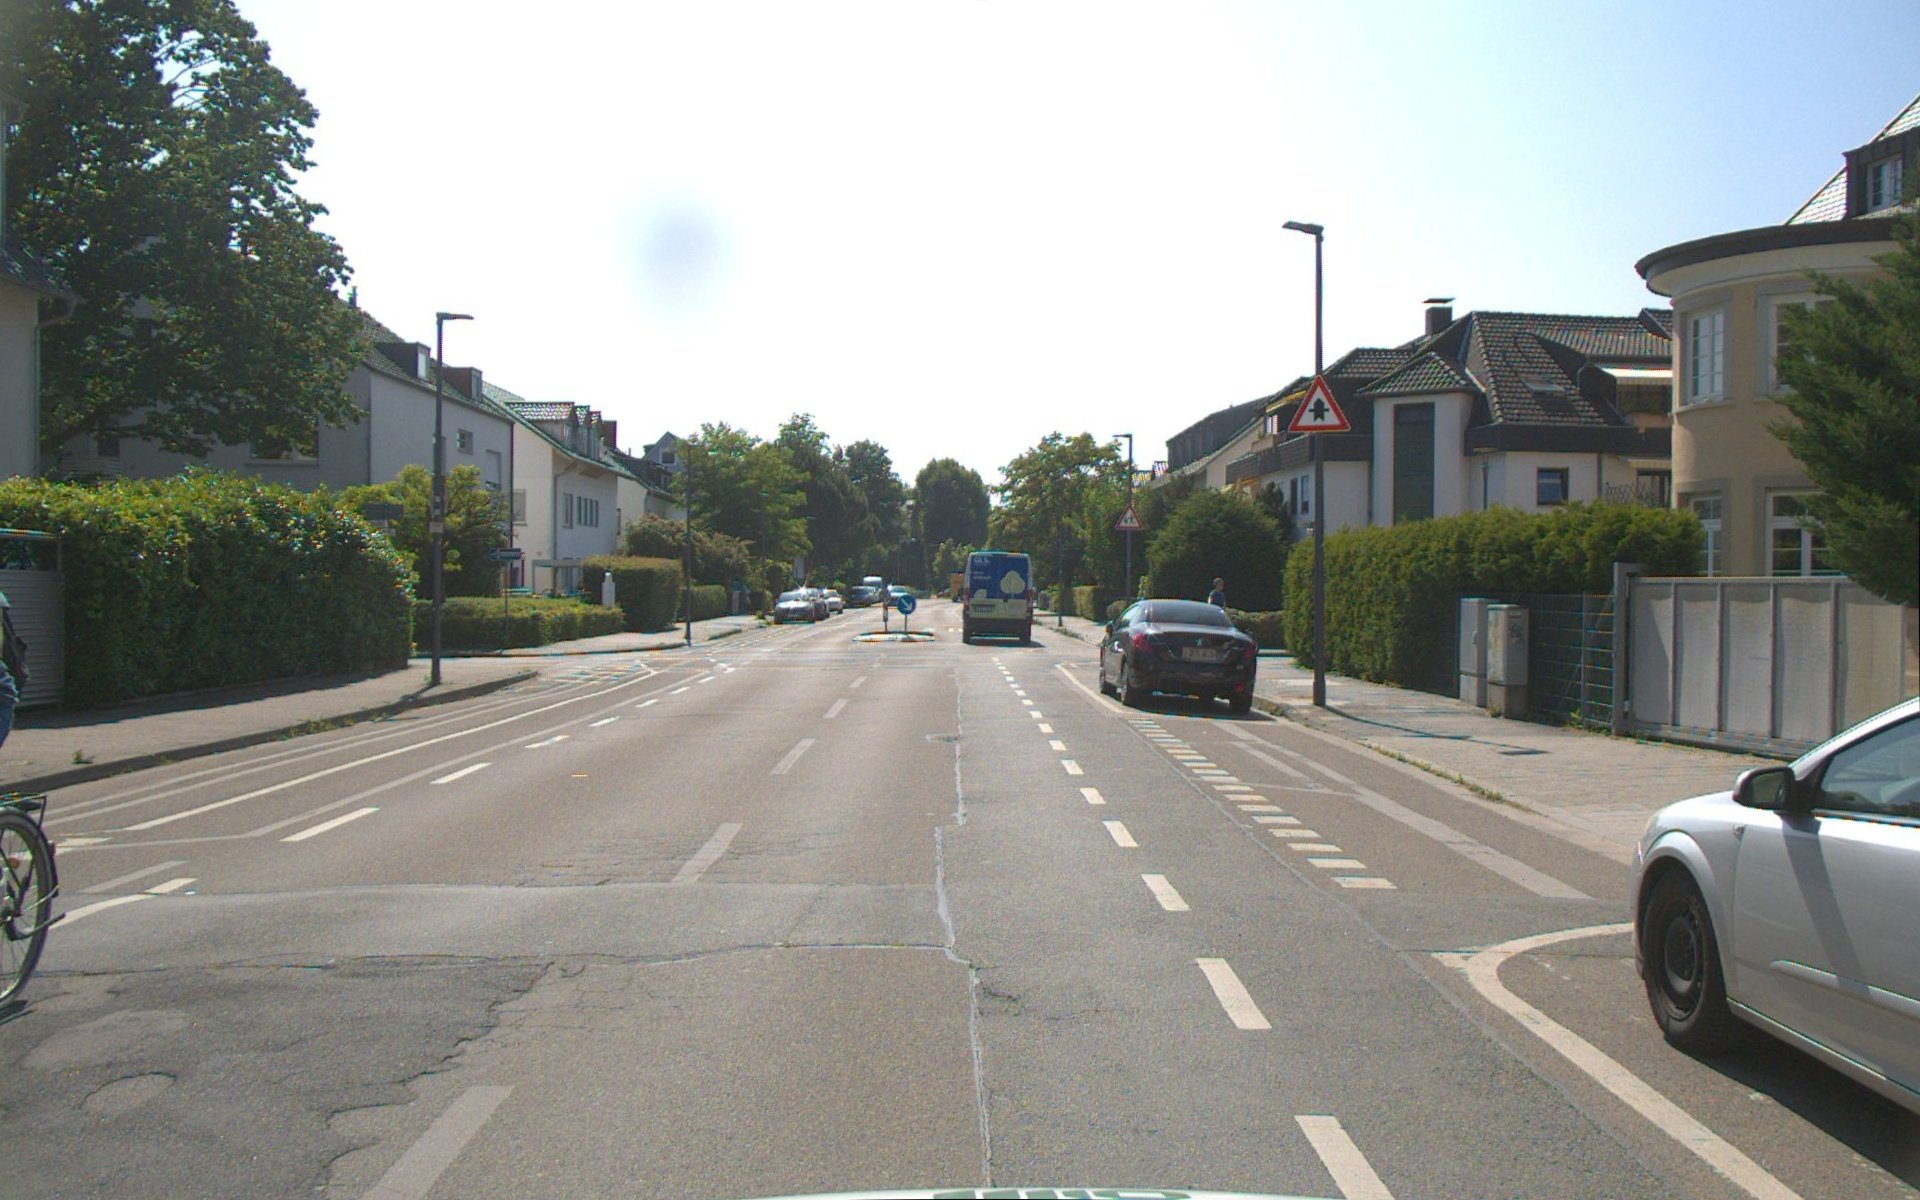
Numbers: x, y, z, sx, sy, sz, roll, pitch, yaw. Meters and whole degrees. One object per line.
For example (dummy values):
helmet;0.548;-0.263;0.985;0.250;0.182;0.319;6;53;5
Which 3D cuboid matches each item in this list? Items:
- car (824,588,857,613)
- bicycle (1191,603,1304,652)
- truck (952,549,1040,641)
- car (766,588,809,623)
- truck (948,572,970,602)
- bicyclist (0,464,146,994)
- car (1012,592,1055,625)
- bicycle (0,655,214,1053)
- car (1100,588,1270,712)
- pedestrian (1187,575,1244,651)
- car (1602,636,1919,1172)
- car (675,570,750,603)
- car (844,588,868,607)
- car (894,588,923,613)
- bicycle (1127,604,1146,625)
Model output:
car;-7.091;0.016;98.416;1.749;1.465;3.999;0;0;-1
bicycle;7.105;0.666;40.959;2.654;1.178;0.862;0;0;32
truck;1.010;-0.144;49.098;2.227;2.616;4.389;0;0;-4
car;-7.774;0.214;74.886;1.750;1.465;4.152;-2;1;-4
truck;-0.117;-1.274;168.042;2.169;2.998;5.686;0;0;0
bicyclist;-3.451;0.419;5.690;0.734;1.696;1.022;-2;0;0
car;3.469;0.370;78.514;1.705;1.426;4.073;-1;1;-2
bicycle;-3.402;0.834;5.441;0.766;1.186;2.420;-2;0;0
car;3.053;0.633;23.230;1.701;1.494;4.344;3;0;0
pedestrian;6.526;0.313;42.290;0.891;1.905;1.175;0;0;-34
car;3.347;0.842;4.299;1.701;1.352;4.075;3;-1;0
car;-13.908;-0.768;93.126;3.905;1.790;2.000;0;1;-1
car;-8.333;-0.226;132.566;1.745;1.485;4.085;0;0;-2
car;-3.713;0.007;120.019;1.875;1.695;4.506;-1;0;0
bicycle;5.438;0.447;50.900;0.393;0.610;1.150;0;1;-3
